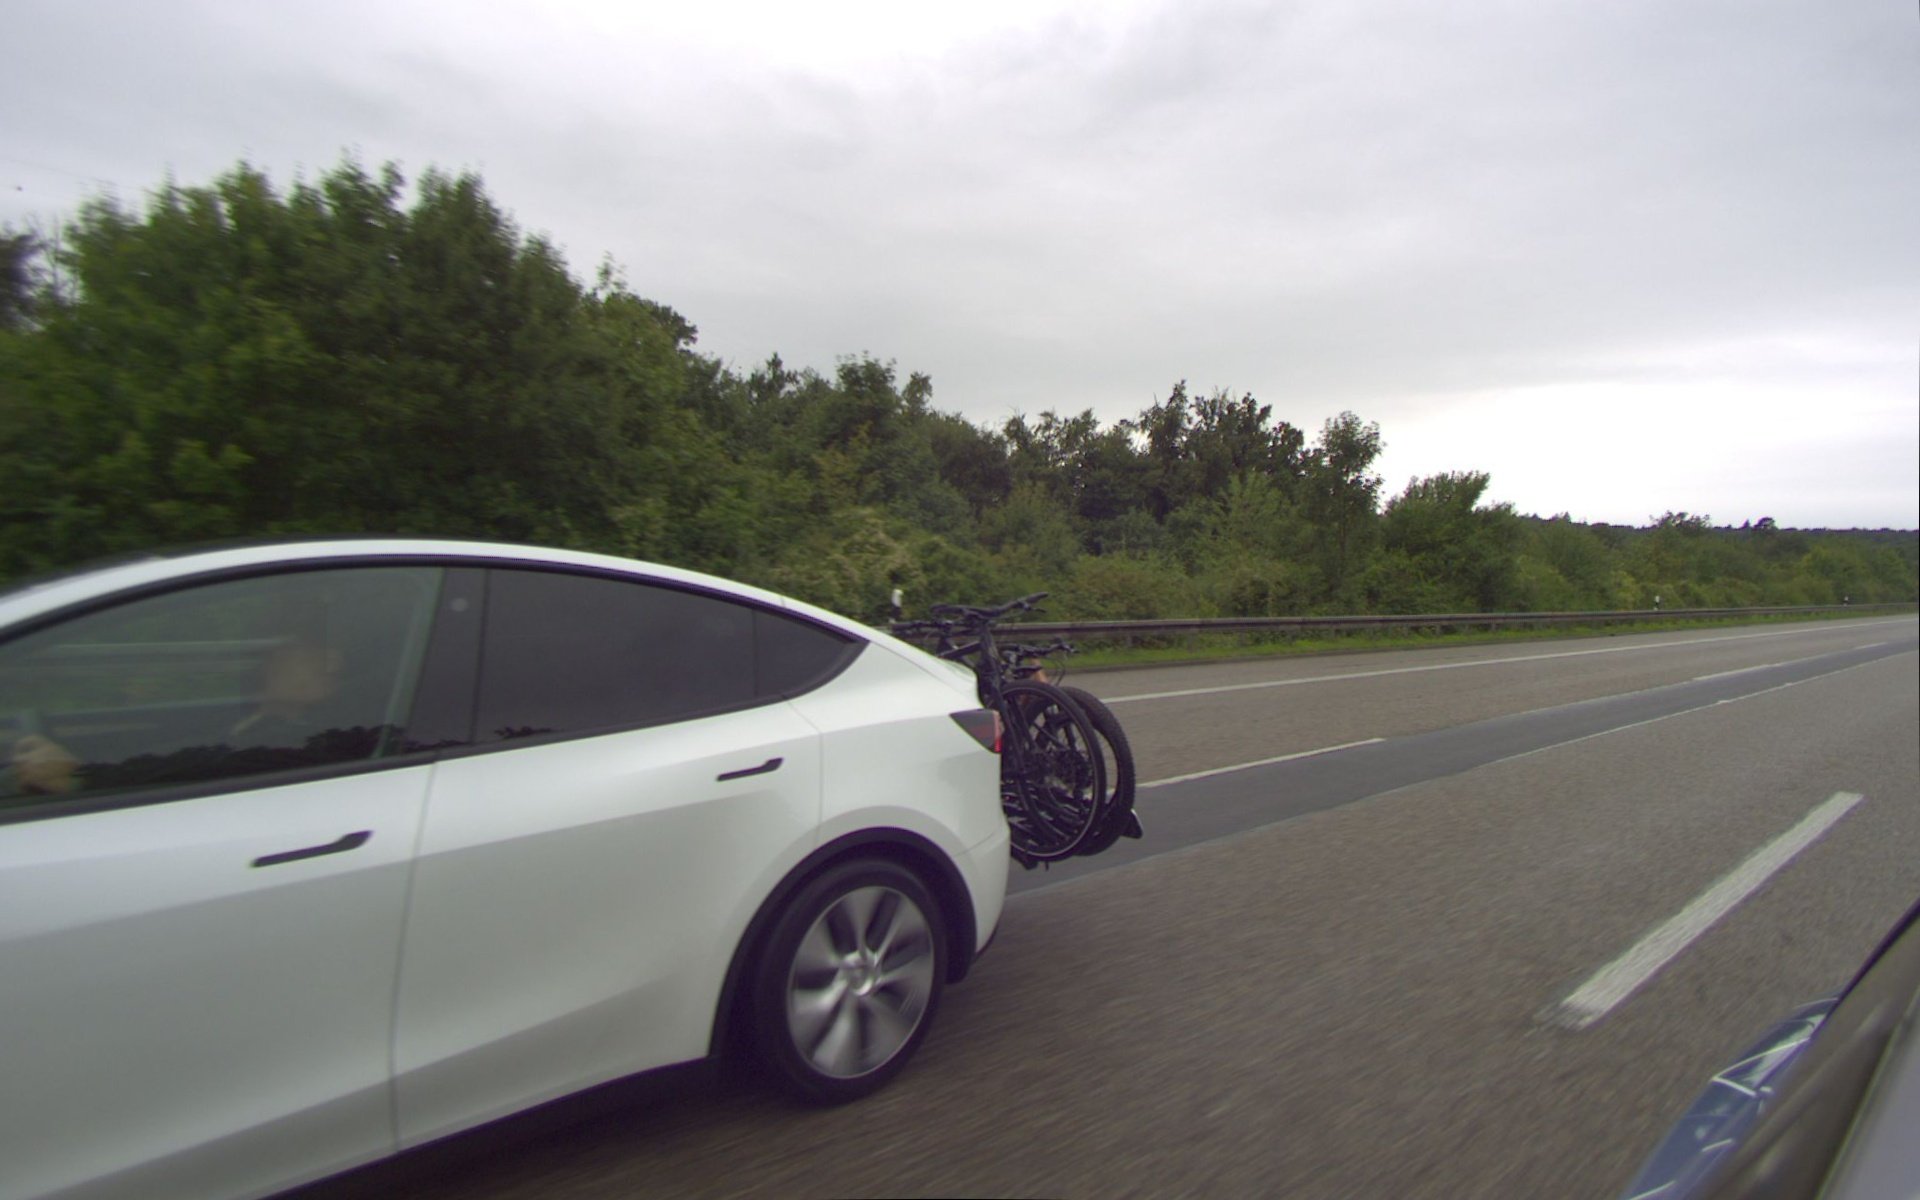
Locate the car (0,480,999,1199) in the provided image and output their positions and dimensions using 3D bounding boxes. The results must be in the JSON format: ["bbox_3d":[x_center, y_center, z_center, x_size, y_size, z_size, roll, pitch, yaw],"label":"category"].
[{"bbox_3d":[-2.297,0.585,2.261,4.879,1.587,1.863,0,1,-42],"label":"car"}]

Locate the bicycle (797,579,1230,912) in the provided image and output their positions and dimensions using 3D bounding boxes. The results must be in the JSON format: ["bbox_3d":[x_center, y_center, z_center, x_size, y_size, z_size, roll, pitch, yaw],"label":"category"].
[{"bbox_3d":[0.158,0.471,4.363,0.898,1.104,1.756,-2,2,-42],"label":"bicycle"}]
